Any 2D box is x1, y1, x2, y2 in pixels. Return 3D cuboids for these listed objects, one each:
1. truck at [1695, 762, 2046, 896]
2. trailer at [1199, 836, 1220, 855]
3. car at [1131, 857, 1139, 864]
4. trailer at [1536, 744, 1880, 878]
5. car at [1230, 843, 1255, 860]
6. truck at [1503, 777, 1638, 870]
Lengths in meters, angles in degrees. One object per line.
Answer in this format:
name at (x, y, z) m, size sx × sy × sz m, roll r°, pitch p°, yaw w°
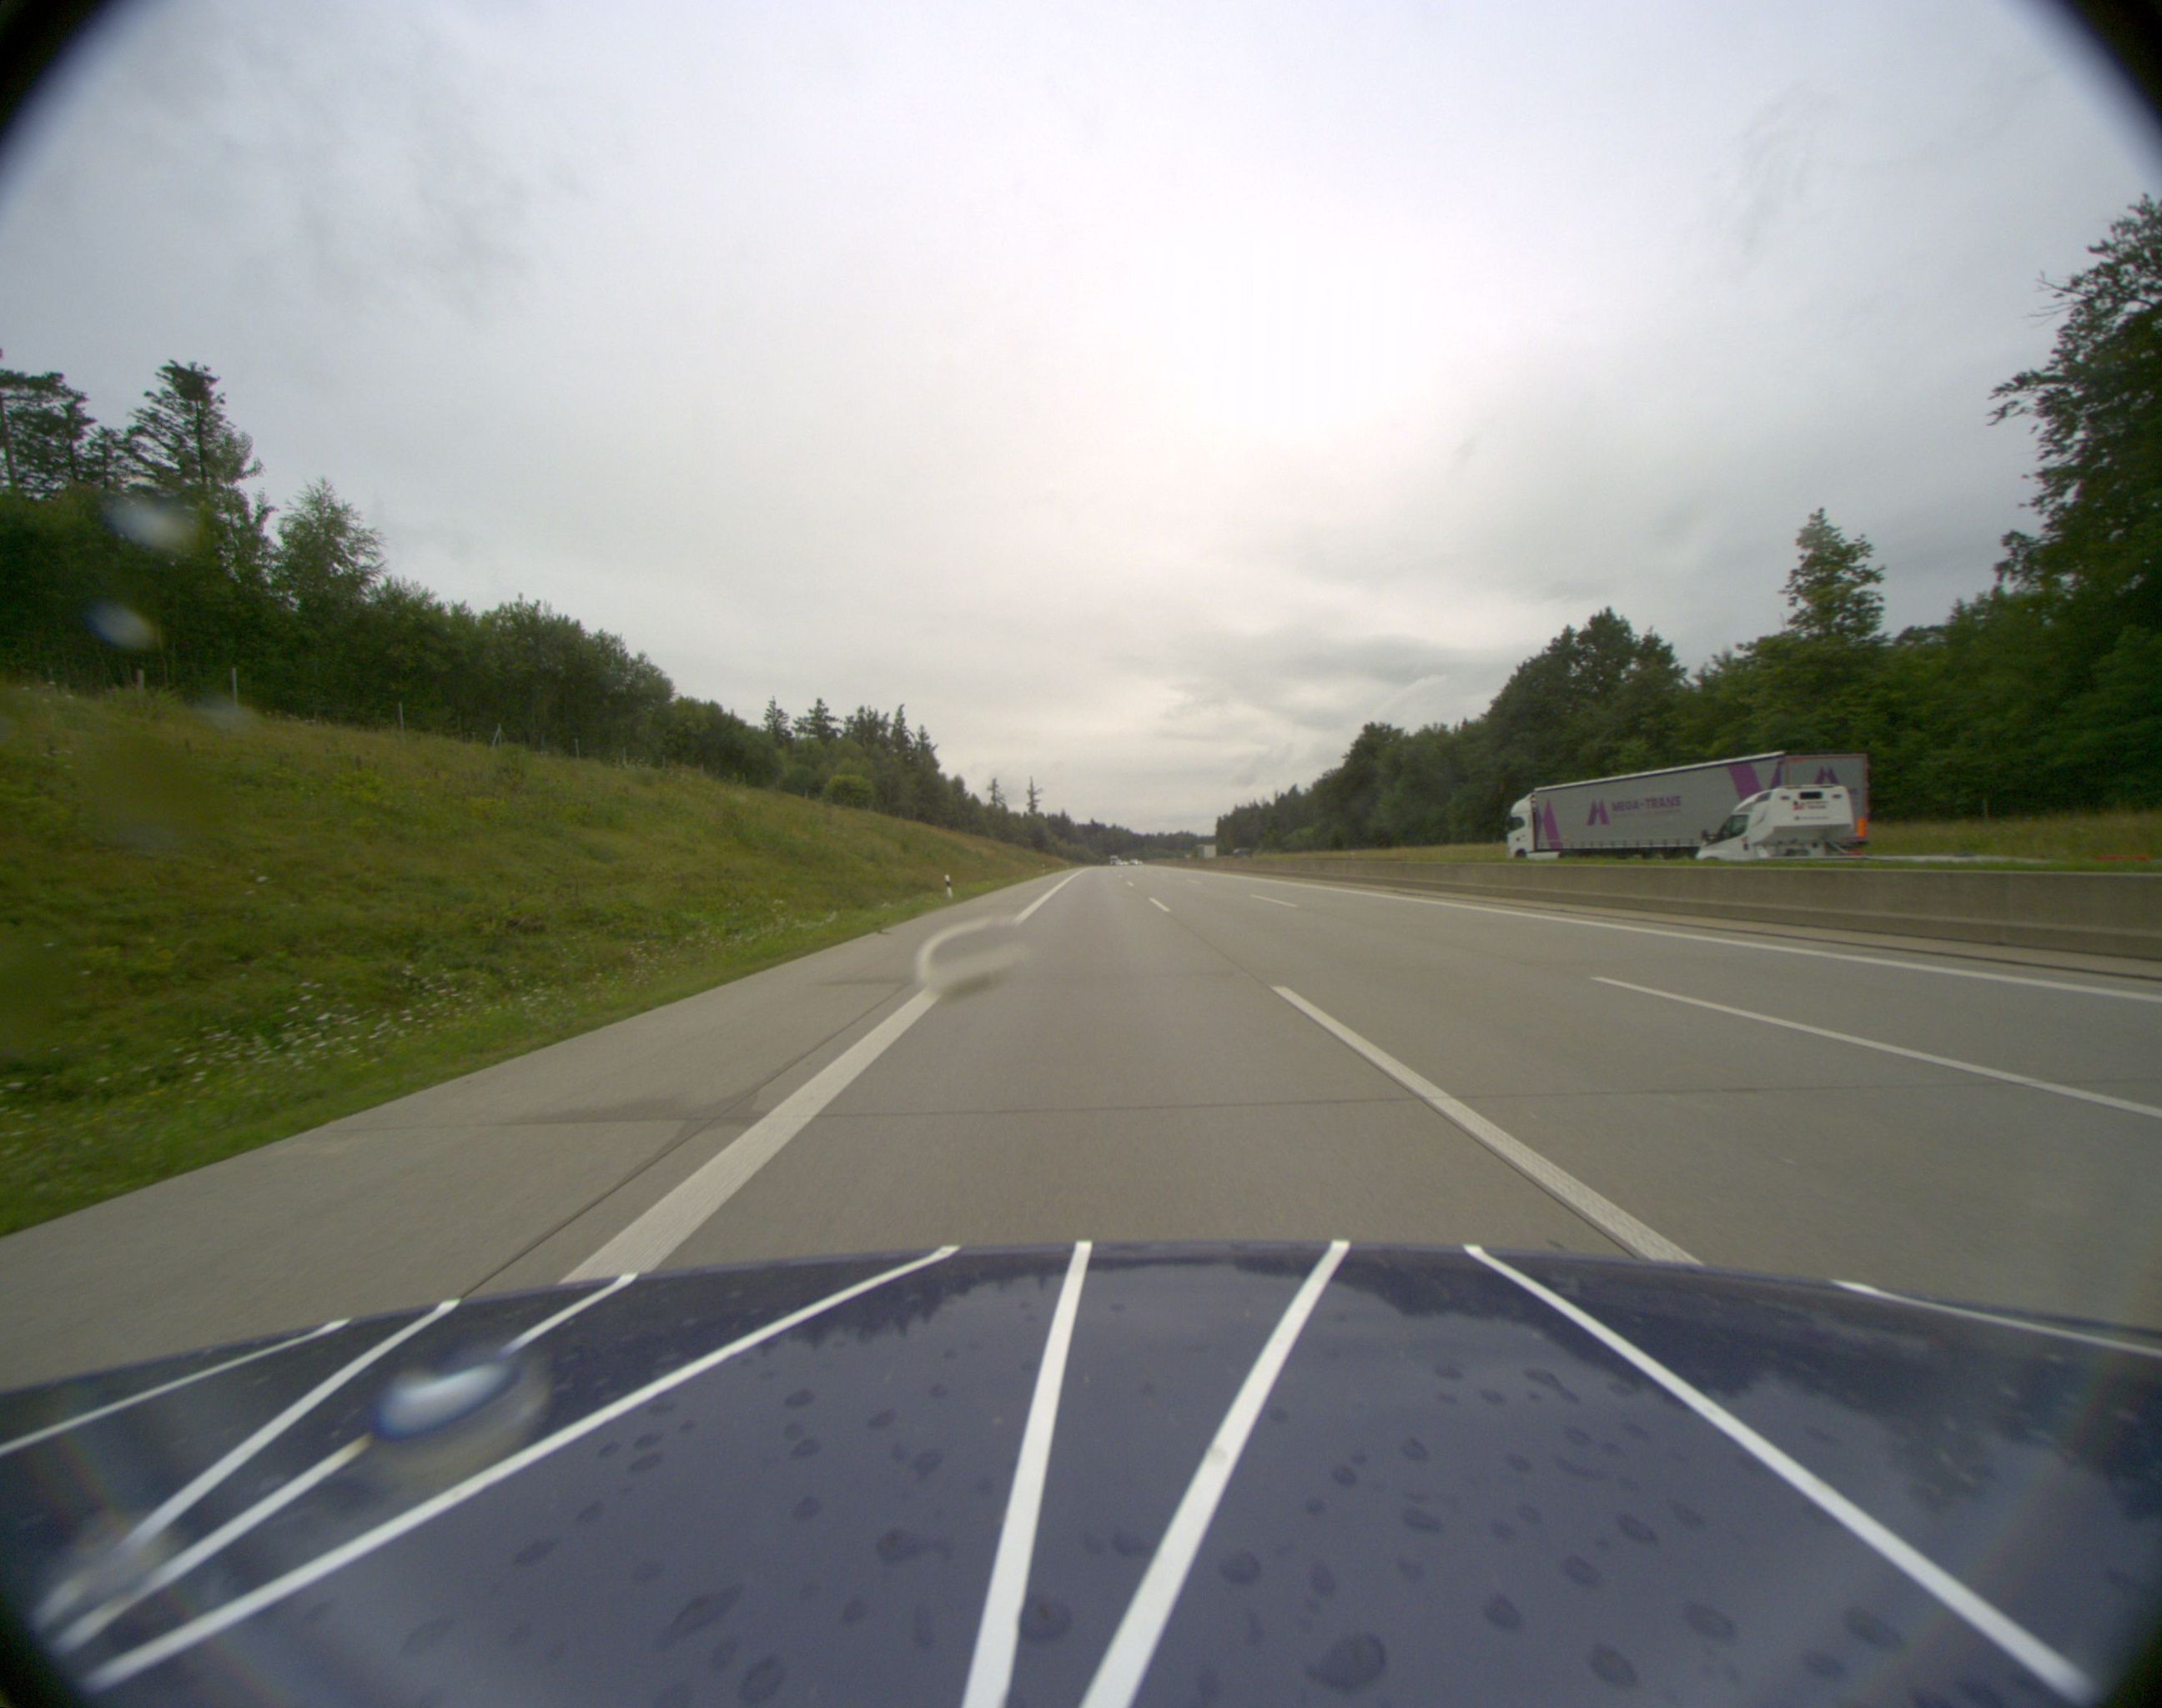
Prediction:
truck at (19.500, -0.536, 19.494) m, size 2.273 × 2.772 × 6.511 m, roll -2°, pitch 0°, yaw 1°
trailer at (29.369, -1.914, 174.336) m, size 2.817 × 3.996 × 13.991 m, roll -2°, pitch 0°, yaw 3°
car at (16.388, 1.908, 231.009) m, size 2.213 × 2.001 × 4.836 m, roll -3°, pitch -2°, yaw 3°
trailer at (23.760, -1.358, 30.695) m, size 2.504 × 4.079 × 13.975 m, roll -2°, pitch 0°, yaw 1°
car at (20.462, -0.336, 96.378) m, size 2.067 × 2.002 × 5.427 m, roll -2°, pitch 0°, yaw 2°
truck at (23.911, -1.383, 37.584) m, size 2.515 × 4.101 × 6.461 m, roll -2°, pitch 0°, yaw 1°
